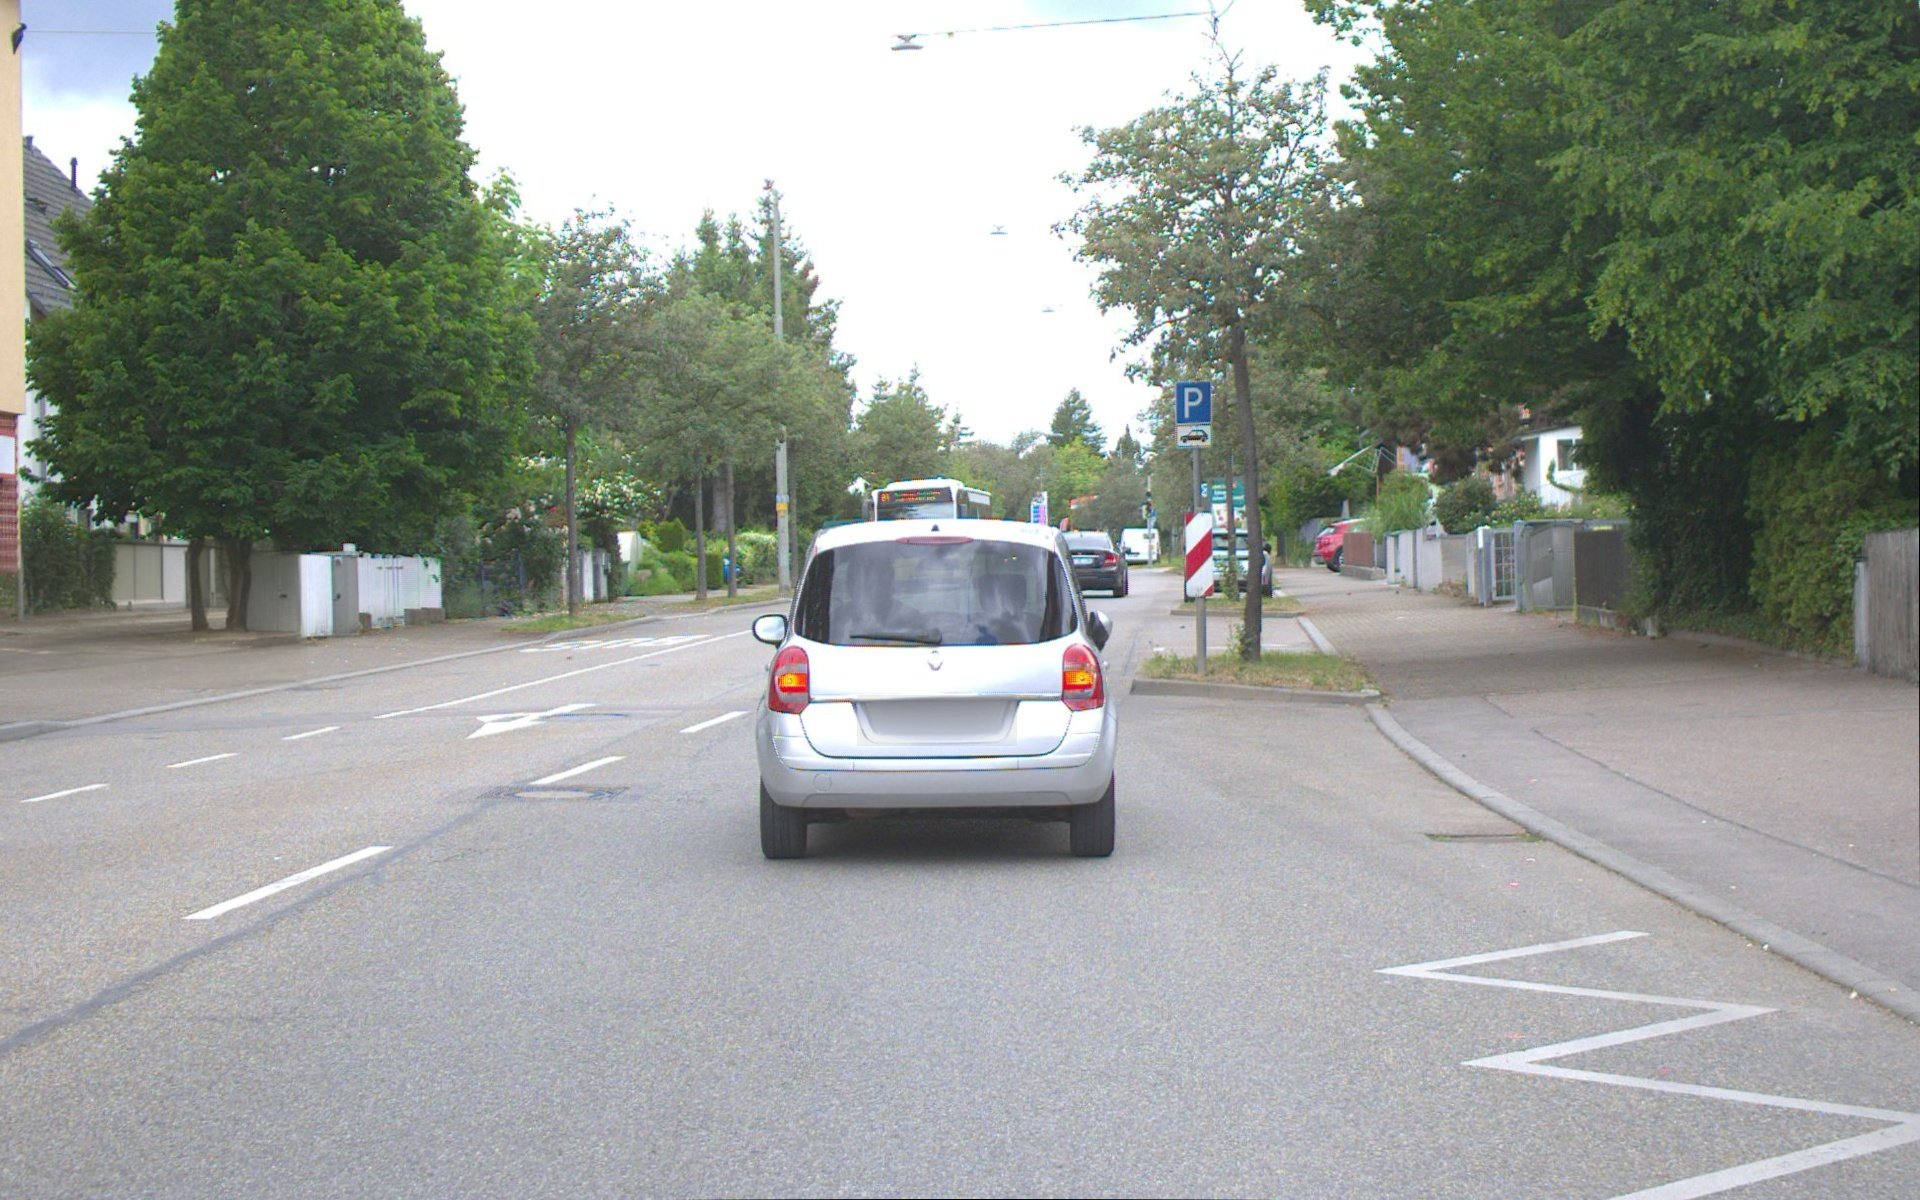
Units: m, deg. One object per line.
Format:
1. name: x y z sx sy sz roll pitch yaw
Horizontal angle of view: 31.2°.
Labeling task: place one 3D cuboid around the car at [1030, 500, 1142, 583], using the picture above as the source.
1. car: 2.696 -1.248 72.933 1.830 1.670 3.573 -1 1 11

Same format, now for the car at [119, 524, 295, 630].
1. car: -12.473 -0.418 57.209 1.806 1.559 4.619 -3 2 0

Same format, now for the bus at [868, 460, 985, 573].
1. bus: -0.893 -2.494 103.140 2.632 3.075 12.069 -3 1 3

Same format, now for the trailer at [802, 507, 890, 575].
1. trailer: -3.538 -1.817 107.871 2.312 2.079 5.872 0 0 2

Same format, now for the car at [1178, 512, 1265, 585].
1. car: 5.184 -0.992 68.039 1.650 1.378 3.999 -1 0 4

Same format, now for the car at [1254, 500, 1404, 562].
1. car: 10.730 -2.007 100.235 3.986 1.491 1.810 -4 1 -4

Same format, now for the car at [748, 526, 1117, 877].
1. car: -0.089 0.439 17.232 1.630 1.551 4.000 0 0 1

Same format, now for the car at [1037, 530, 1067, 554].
1. car: 6.467 -4.102 241.576 1.905 1.612 4.000 -1 0 -1

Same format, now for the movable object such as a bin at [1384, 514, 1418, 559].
1. movable object such as a bin: 11.051 -1.589 86.192 0.776 1.100 0.691 -2 1 3

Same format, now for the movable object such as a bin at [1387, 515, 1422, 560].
1. movable object such as a bin: 10.945 -1.543 84.700 0.776 1.100 0.691 -2 1 3
